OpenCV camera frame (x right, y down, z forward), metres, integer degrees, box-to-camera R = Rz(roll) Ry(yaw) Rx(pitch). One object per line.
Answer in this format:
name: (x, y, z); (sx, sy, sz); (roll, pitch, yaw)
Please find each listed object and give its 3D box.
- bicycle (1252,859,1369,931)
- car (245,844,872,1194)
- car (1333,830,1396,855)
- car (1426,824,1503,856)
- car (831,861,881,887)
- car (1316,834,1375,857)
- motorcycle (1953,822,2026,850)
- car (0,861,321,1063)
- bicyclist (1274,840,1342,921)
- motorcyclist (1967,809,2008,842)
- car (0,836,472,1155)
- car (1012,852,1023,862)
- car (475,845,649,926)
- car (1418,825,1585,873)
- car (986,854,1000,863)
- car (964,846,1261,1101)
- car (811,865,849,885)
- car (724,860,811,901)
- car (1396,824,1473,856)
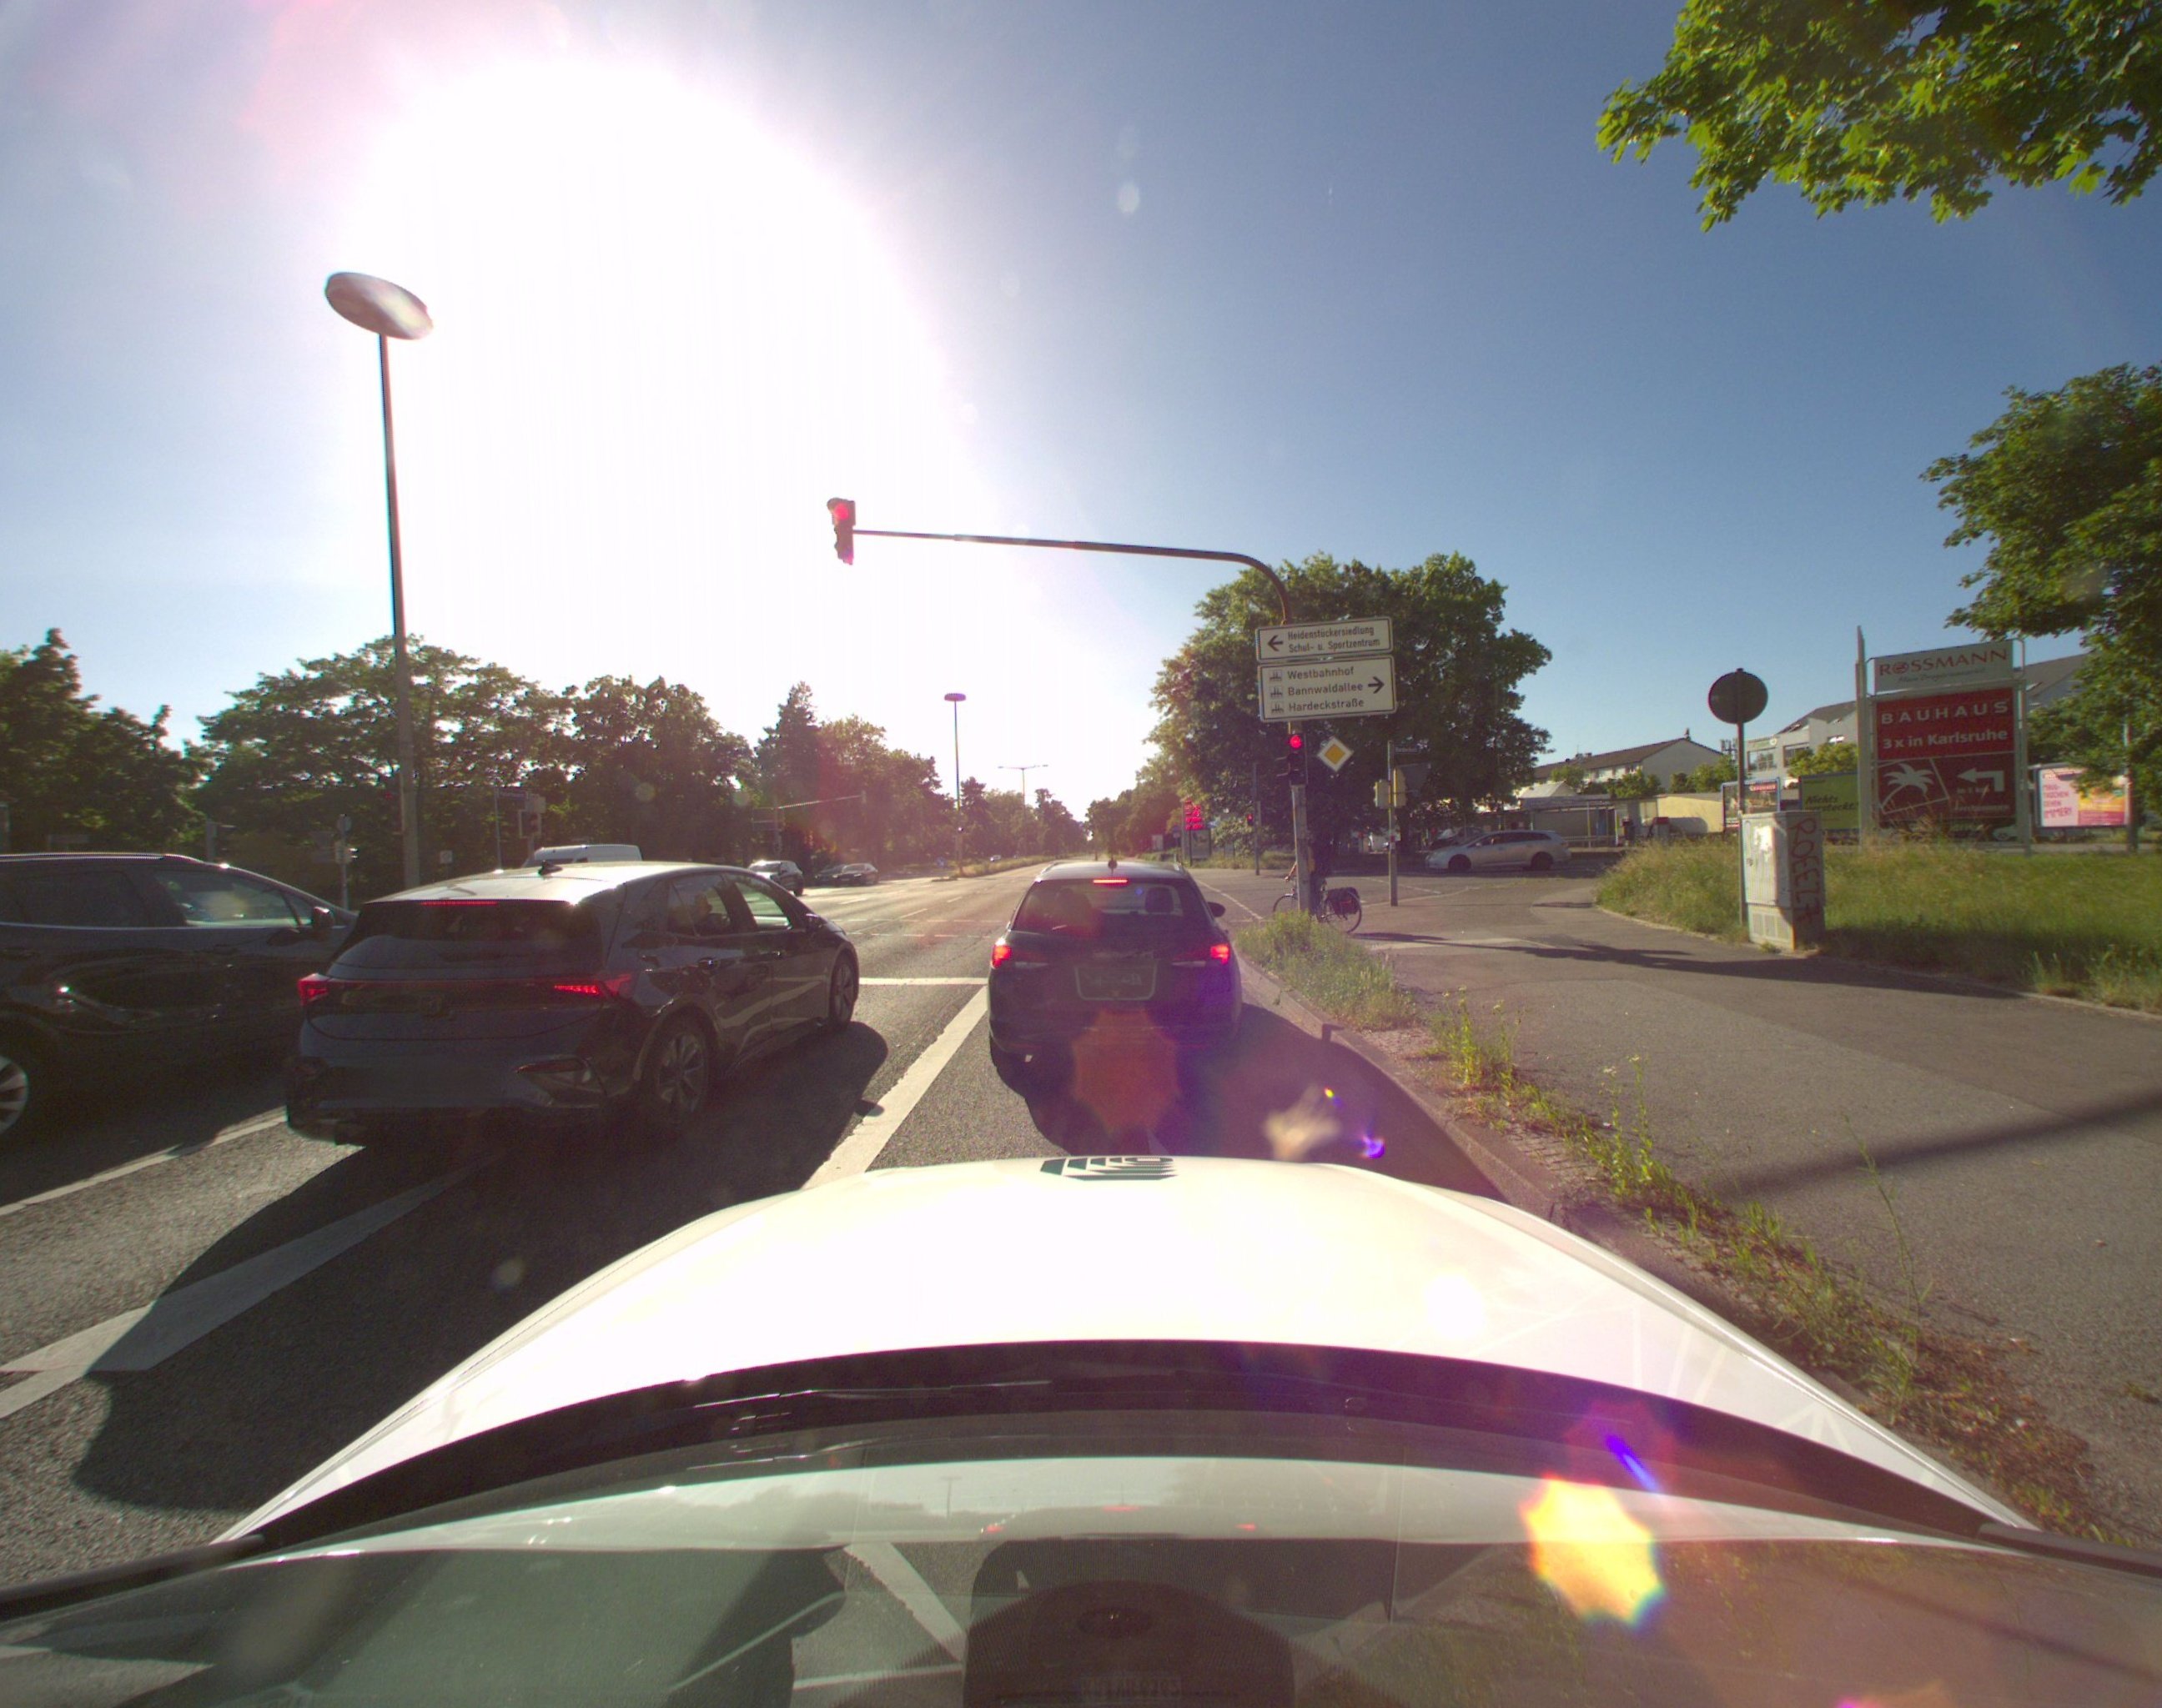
bicycle: (3.734, 0.688, 13.377); (0.541, 1.097, 1.755); (-3, -2, -42)
car: (-2.957, 0.773, 5.861); (1.678, 1.580, 4.208); (-1, 0, 2)
car: (19.666, -0.822, 56.437); (3.903, 1.517, 1.733); (-3, 0, -21)
car: (22.381, -0.814, 47.530); (4.002, 1.680, 1.733); (-3, 0, -21)
car: (-14.070, 1.221, 51.093); (1.769, 1.463, 4.166); (-3, 0, 2)
car: (19.331, -0.615, 59.530); (3.903, 1.517, 1.733); (-3, 0, -21)
motorcycle: (34.341, -0.677, 30.808); (1.773, 0.937, 0.657); (-3, 0, 12)
car: (-10.221, 0.988, 7.926); (1.824, 1.702, 3.999); (-3, 0, 0)
bicyclist: (3.719, 0.442, 13.379); (0.541, 1.277, 0.819); (-3, -2, -42)
motorcyclist: (34.301, -1.063, 30.817); (0.762, 1.176, 0.657); (-3, 0, 12)
car: (-6.618, 0.788, 5.524); (1.798, 1.689, 4.002); (-3, 0, 2)
car: (-14.202, 0.646, 181.920); (1.986, 2.013, 4.001); (-3, 0, 1)
car: (-18.188, 0.986, 29.029); (2.092, 2.492, 6.006); (-3, 0, 2)
car: (14.966, -0.166, 29.298); (4.969, 1.486, 2.007); (-2, 0, 13)
car: (-15.989, 0.811, 148.600); (1.986, 1.530, 4.001); (-3, 0, 1)
car: (0.251, 0.726, 6.970); (1.750, 1.495, 4.208); (-1, 0, 2)
car: (-17.660, 1.445, 57.460); (1.384, 1.235, 3.637); (-3, 0, 2)
car: (-14.199, 1.143, 37.234); (1.986, 1.601, 4.617); (-3, 0, 2)
car: (21.410, -0.827, 49.383); (4.003, 1.750, 1.985); (-3, 0, -22)
